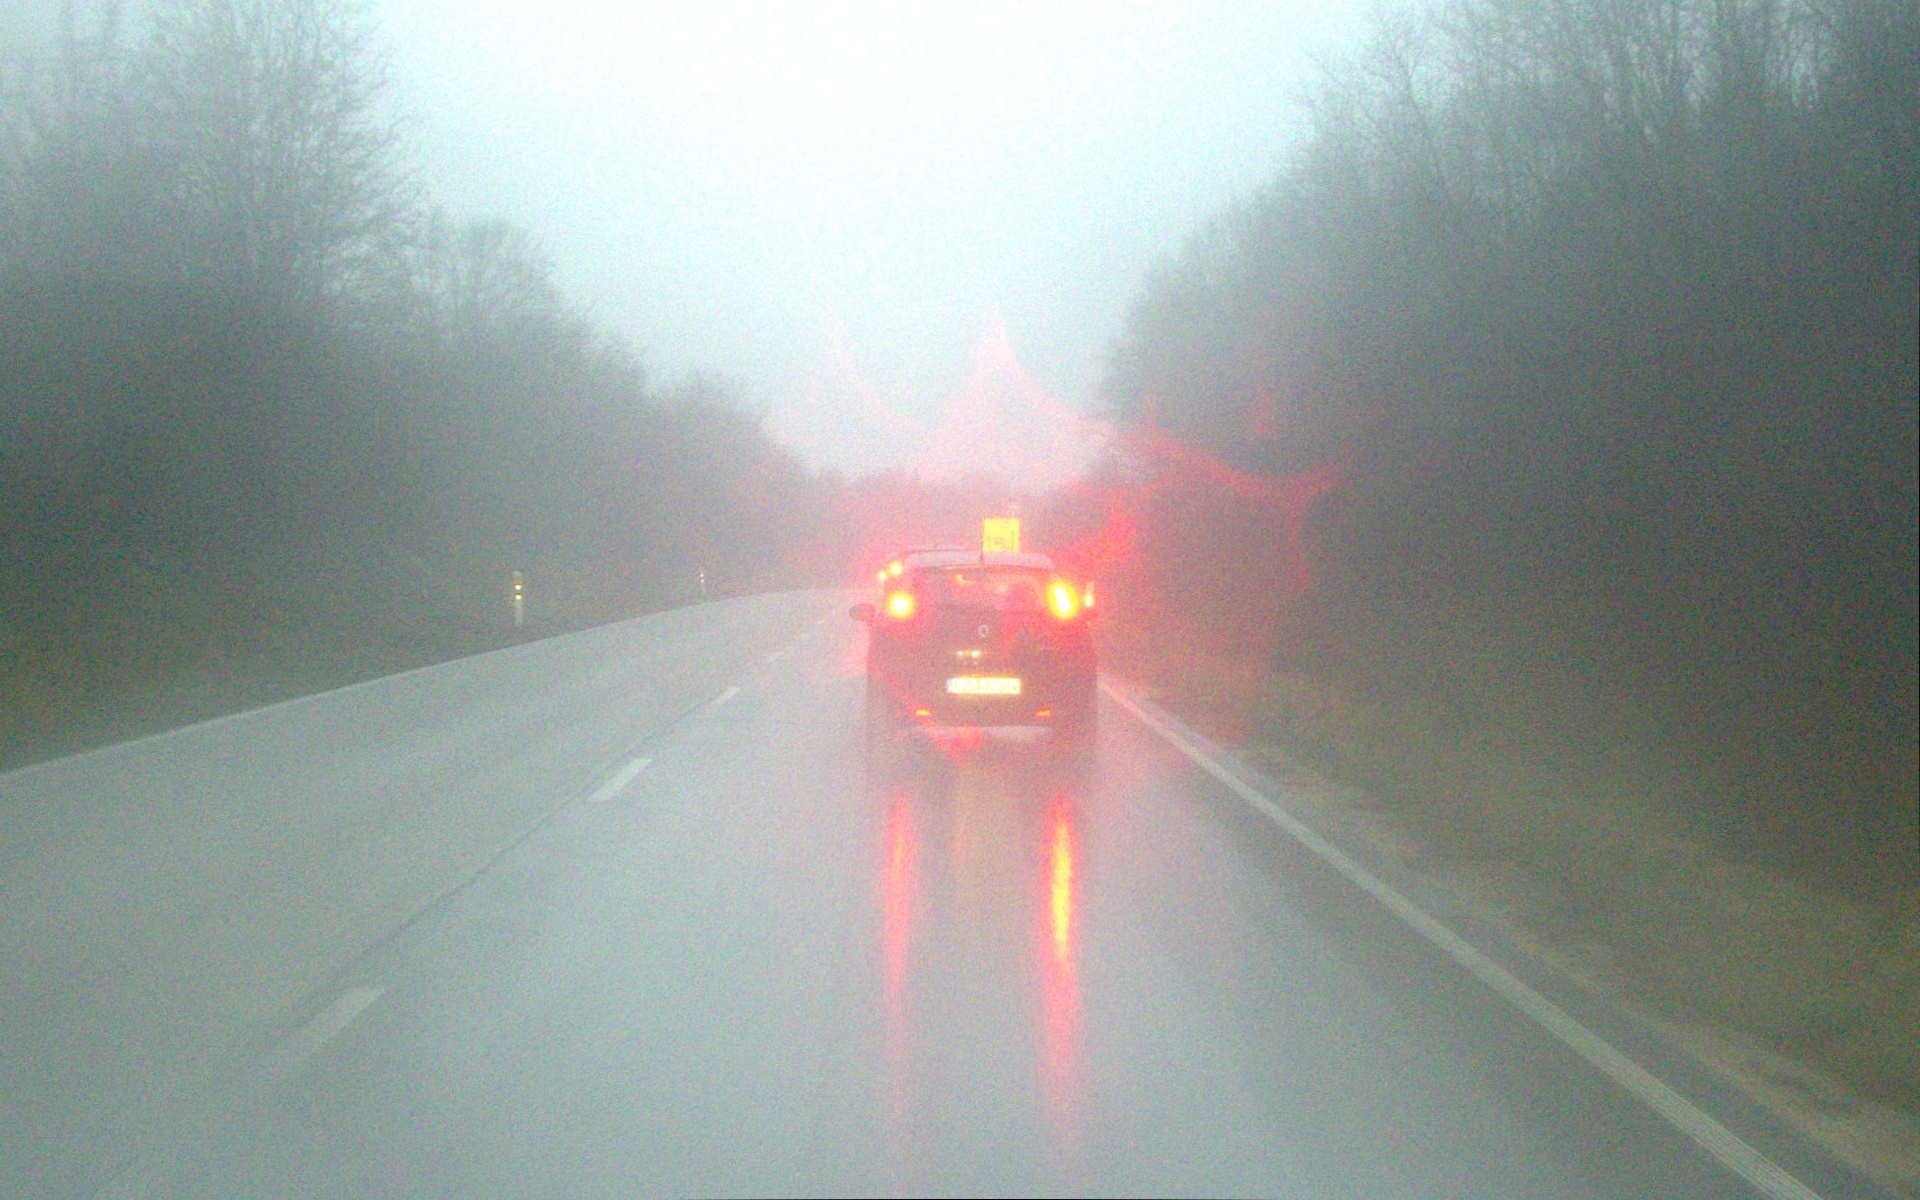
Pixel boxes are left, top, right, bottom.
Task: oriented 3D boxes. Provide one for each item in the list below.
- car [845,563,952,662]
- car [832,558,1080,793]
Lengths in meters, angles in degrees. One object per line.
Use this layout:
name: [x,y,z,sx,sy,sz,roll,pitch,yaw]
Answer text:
car: [-1.033,0.193,59.762,1.728,1.638,4.000,1,0,1]
car: [-0.006,0.513,26.163,1.728,1.638,4.000,1,0,1]
